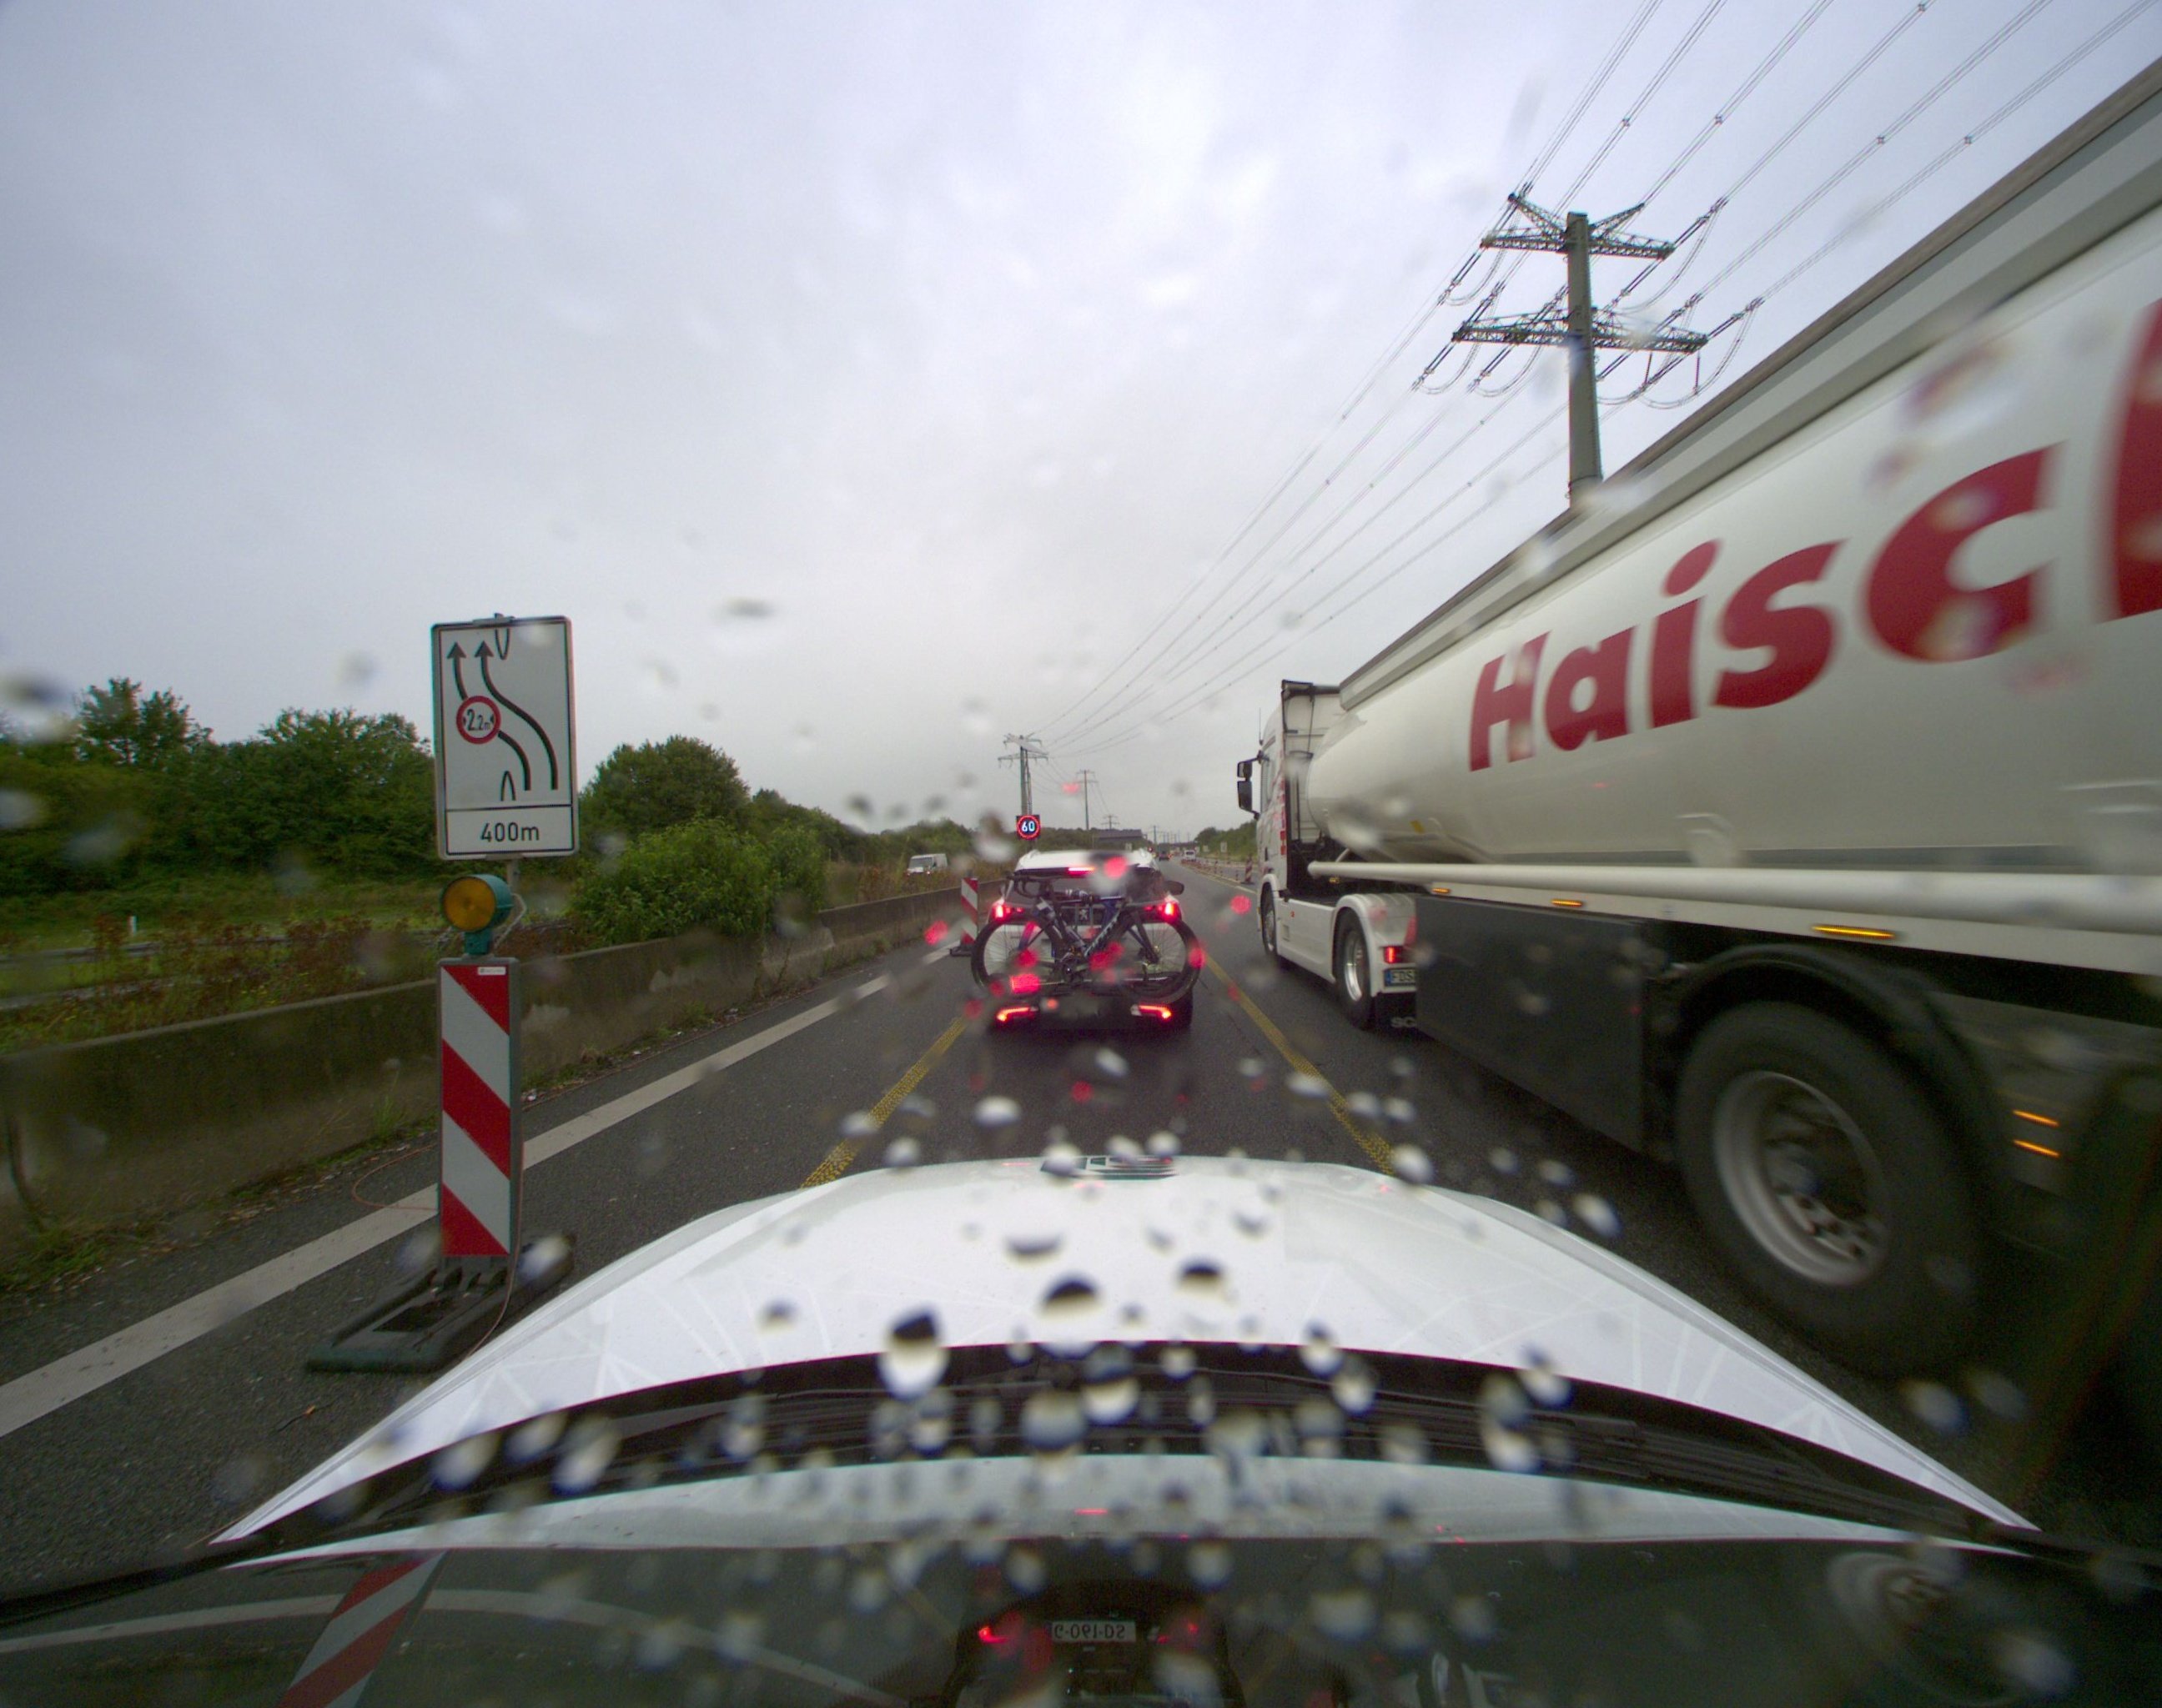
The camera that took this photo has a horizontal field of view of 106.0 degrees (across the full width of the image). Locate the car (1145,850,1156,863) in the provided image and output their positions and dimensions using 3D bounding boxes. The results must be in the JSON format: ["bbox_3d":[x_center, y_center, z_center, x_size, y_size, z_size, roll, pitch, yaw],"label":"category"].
[{"bbox_3d":[11.456,0.371,134.449,1.645,2.013,4.007,-1,0,6],"label":"car"}]

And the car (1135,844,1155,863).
[{"bbox_3d":[7.340,-0.009,93.224,1.986,2.014,4.001,-3,-2,1],"label":"car"}]

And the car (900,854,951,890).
[{"bbox_3d":[-11.979,1.335,63.149,2.229,2.440,5.891,-2,0,5],"label":"car"}]

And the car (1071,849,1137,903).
[{"bbox_3d":[0.764,0.667,26.730,1.986,1.584,4.002,-1,0,2],"label":"car"}]

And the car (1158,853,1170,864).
[{"bbox_3d":[15.449,0.826,152.377,1.986,2.014,4.001,0,-1,2],"label":"car"}]

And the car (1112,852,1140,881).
[{"bbox_3d":[3.302,0.909,60.172,1.986,2.014,4.001,0,-1,2],"label":"car"}]

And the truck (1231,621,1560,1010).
[{"bbox_3d":[3.525,-0.370,10.214,2.635,3.891,4.031,0,-1,2],"label":"truck"}]

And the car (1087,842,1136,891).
[{"bbox_3d":[1.358,0.523,36.817,1.986,2.013,4.002,-3,0,2],"label":"car"}]

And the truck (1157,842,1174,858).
[{"bbox_3d":[20.906,-1.085,201.913,3.715,3.822,11.881,0,1,4],"label":"truck"}]

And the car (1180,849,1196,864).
[{"bbox_3d":[16.022,0.376,121.911,1.986,2.013,4.002,-3,0,2],"label":"car"}]

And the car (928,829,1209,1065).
[{"bbox_3d":[0.072,0.646,7.916,1.919,1.611,4.600,-1,0,4],"label":"car"}]

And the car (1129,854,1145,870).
[{"bbox_3d":[7.347,1.094,106.821,1.986,2.014,4.001,0,-1,2],"label":"car"}]

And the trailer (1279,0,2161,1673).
[{"bbox_3d":[3.334,-0.444,3.614,2.628,3.893,10.547,0,-1,2],"label":"trailer"}]

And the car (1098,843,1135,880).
[{"bbox_3d":[2.081,0.424,48.118,1.986,2.013,4.002,-2,0,2],"label":"car"}]
